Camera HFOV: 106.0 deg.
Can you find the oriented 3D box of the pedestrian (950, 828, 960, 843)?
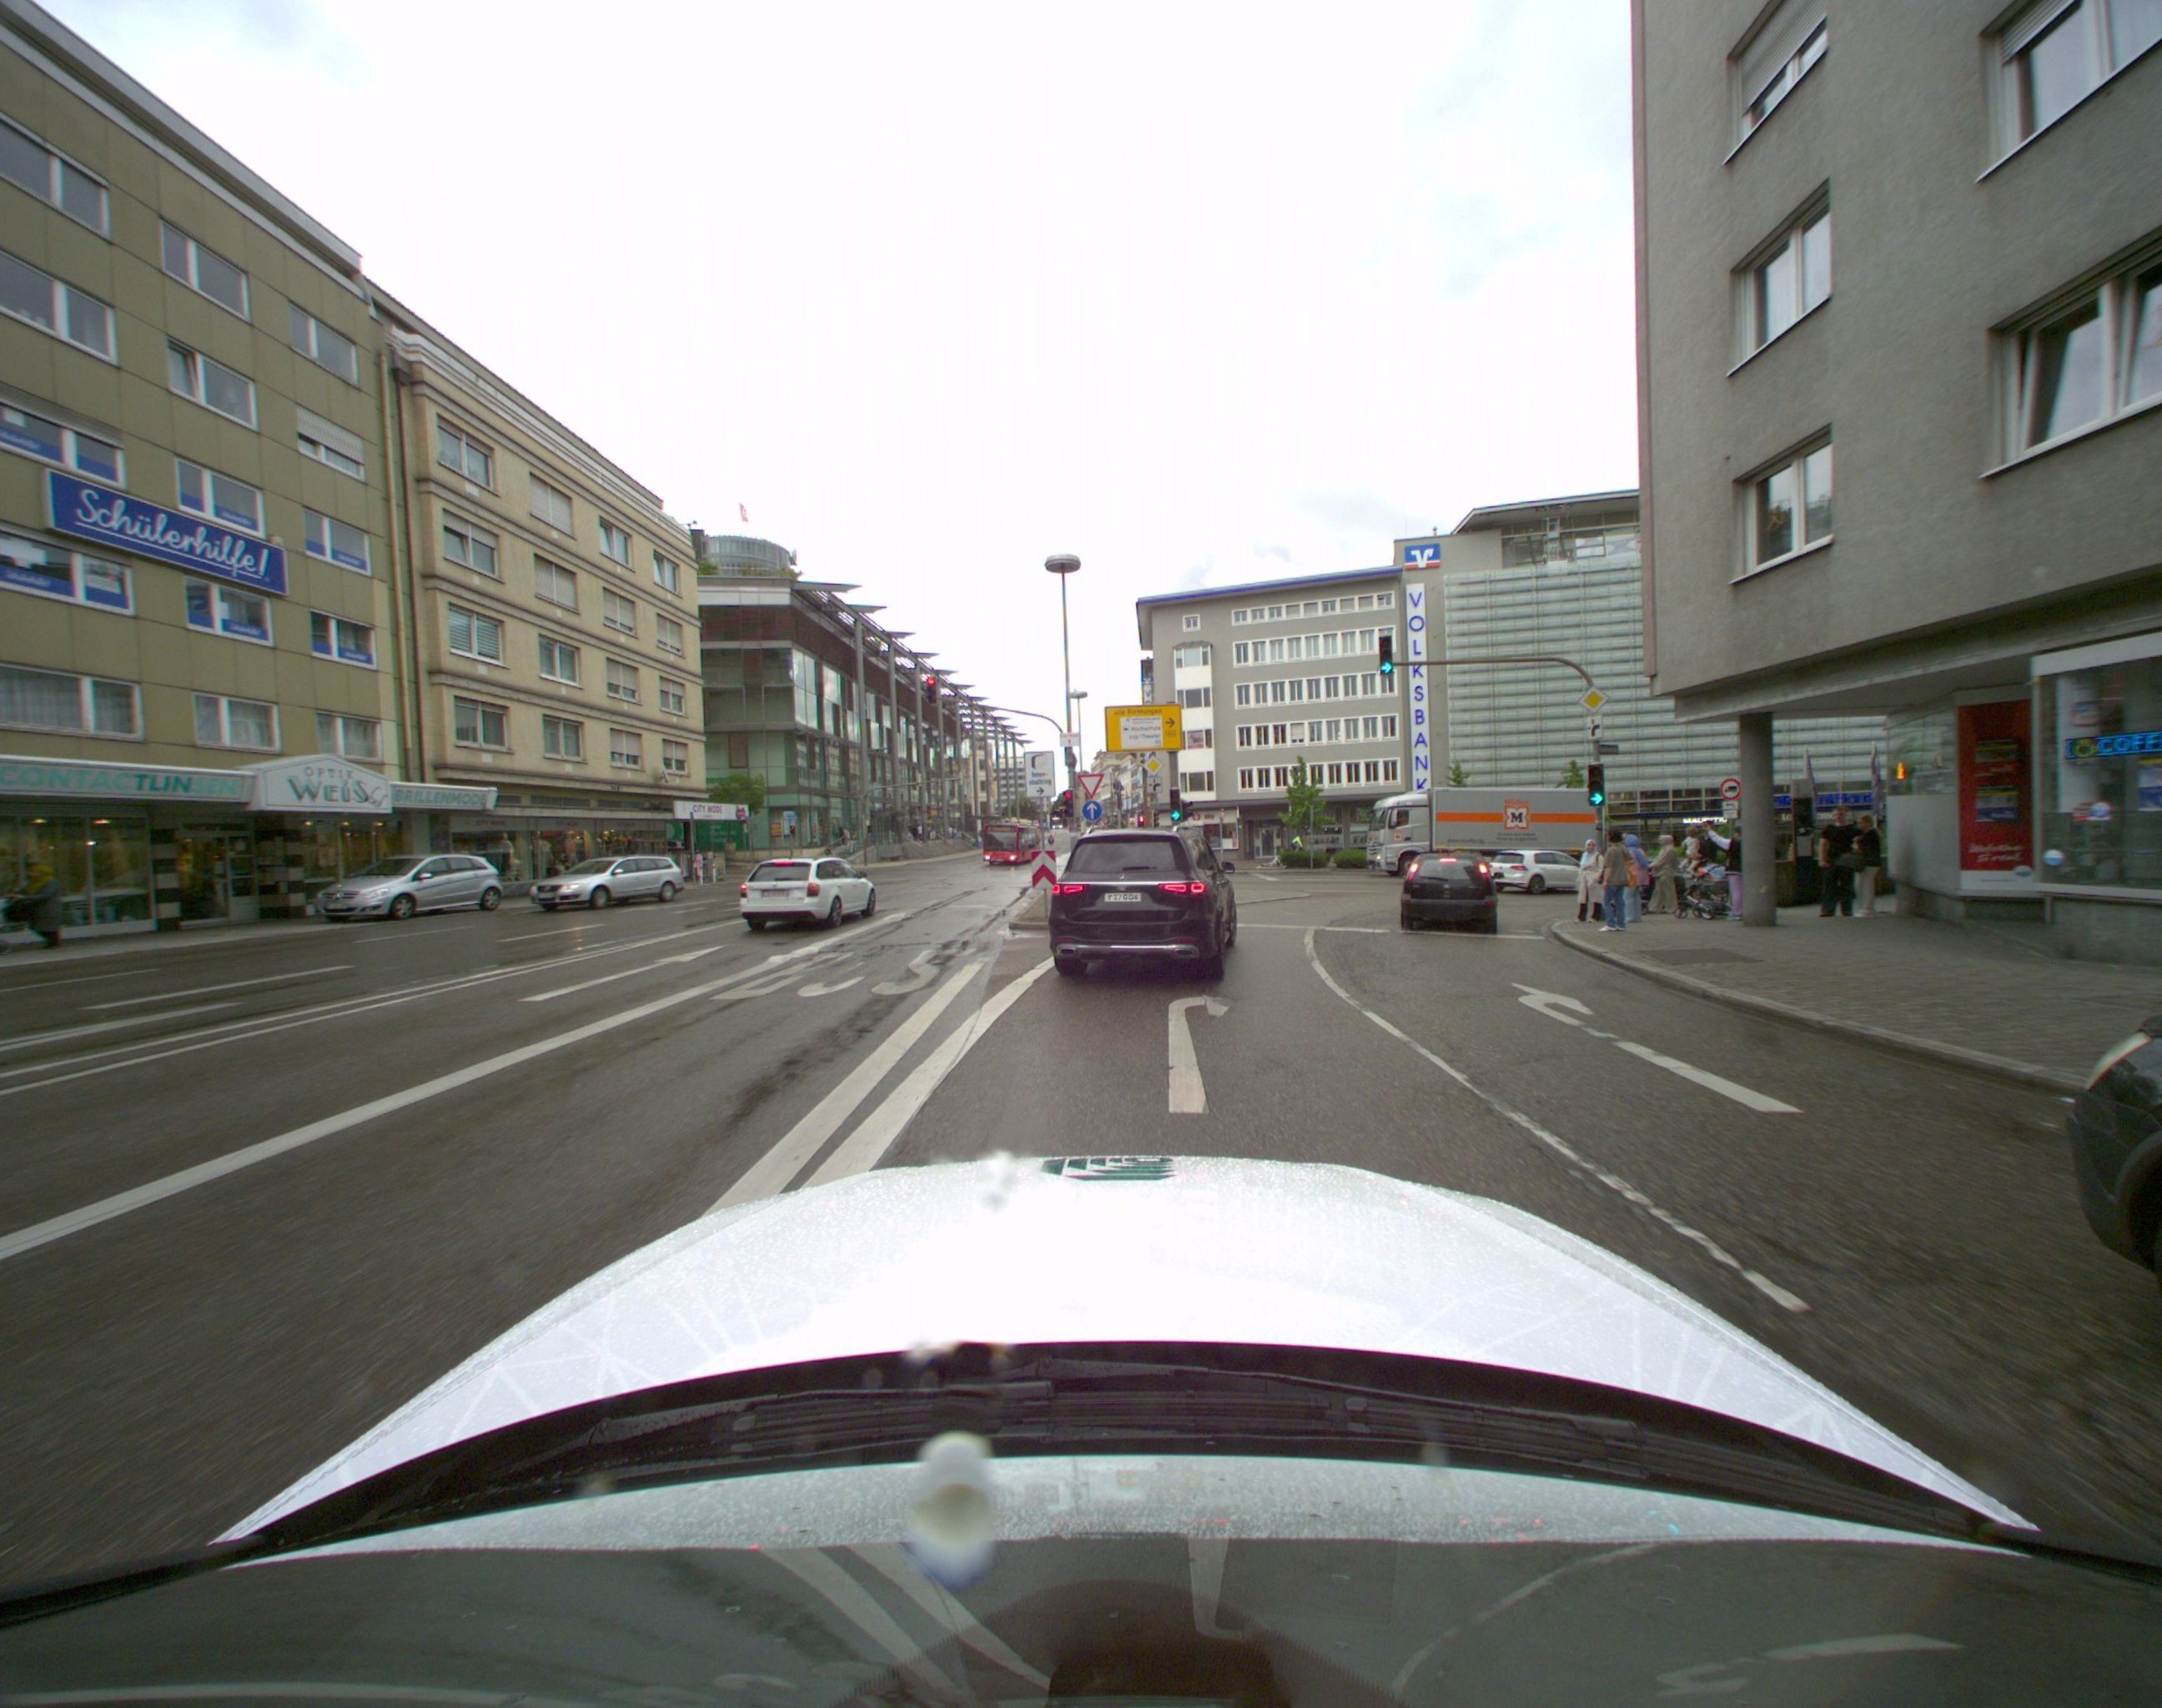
[{"bbox_3d":[-15.111,-2.215,97.726,1.036,1.712,1.006,-1,1,-4],"label":"pedestrian"}]

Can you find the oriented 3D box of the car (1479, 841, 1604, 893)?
[{"bbox_3d":[15.799,0.384,27.931,4.012,1.573,1.938,-1,3,-30],"label":"car"}]

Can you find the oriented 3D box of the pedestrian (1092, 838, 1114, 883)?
[{"bbox_3d":[0.845,0.245,30.608,0.752,1.692,0.695,0,-1,6],"label":"pedestrian"}]

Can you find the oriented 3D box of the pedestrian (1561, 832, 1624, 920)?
[{"bbox_3d":[9.952,0.442,15.875,0.537,1.637,0.838,-5,-4,1],"label":"pedestrian"}]

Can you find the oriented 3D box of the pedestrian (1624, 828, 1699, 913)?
[{"bbox_3d":[12.306,0.349,17.294,1.027,1.722,0.842,-3,0,18],"label":"pedestrian"}]

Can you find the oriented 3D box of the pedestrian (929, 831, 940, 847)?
[{"bbox_3d":[-16.669,-1.709,92.512,1.036,1.712,1.006,-1,1,-4],"label":"pedestrian"}]

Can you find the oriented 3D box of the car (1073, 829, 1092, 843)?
[{"bbox_3d":[0.189,-2.444,109.556,2.414,1.780,5.156,0,1,1],"label":"car"}]

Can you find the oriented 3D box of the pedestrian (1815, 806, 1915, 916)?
[{"bbox_3d":[12.467,0.119,12.975,0.612,1.637,0.839,-5,-3,6],"label":"pedestrian"}]

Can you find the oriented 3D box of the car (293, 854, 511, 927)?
[{"bbox_3d":[-17.275,0.848,21.069,1.841,1.550,4.402,1,2,1],"label":"car"}]

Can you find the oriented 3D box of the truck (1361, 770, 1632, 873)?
[{"bbox_3d":[18.588,-1.413,37.056,10.683,4.333,2.860,-1,1,5],"label":"truck"}]

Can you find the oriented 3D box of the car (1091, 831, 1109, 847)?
[{"bbox_3d":[2.130,-1.699,92.959,1.855,1.826,4.103,0,1,-1],"label":"car"}]

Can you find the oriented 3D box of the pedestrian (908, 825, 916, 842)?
[{"bbox_3d":[-16.881,-2.029,81.389,0.679,1.712,0.849,-1,1,-4],"label":"pedestrian"}]

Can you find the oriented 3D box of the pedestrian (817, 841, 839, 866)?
[{"bbox_3d":[-17.533,-0.061,56.493,1.029,1.712,1.014,0,1,29],"label":"pedestrian"}]

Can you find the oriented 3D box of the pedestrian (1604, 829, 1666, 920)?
[{"bbox_3d":[10.302,0.388,15.148,0.736,1.635,0.600,-6,-5,43],"label":"pedestrian"}]

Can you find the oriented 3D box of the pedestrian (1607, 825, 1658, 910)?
[{"bbox_3d":[12.656,0.329,18.716,0.610,1.868,0.790,-5,-4,17],"label":"pedestrian"}]

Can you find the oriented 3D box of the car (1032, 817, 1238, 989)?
[{"bbox_3d":[1.014,0.447,11.161,2.073,1.816,4.810,0,2,13],"label":"car"}]

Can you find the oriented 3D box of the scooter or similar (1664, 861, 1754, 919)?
[{"bbox_3d":[11.440,0.652,14.874,0.767,0.986,1.048,-3,-3,1],"label":"scooter or similar"}]

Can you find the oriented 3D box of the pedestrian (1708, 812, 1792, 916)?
[{"bbox_3d":[11.500,0.181,14.022,0.830,1.723,0.619,-3,-2,10],"label":"pedestrian"}]

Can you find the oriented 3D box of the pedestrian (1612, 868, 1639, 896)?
[{"bbox_3d":[11.731,0.609,17.544,0.368,0.571,0.461,-4,-1,21],"label":"pedestrian"}]

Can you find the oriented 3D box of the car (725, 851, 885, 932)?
[{"bbox_3d":[-5.797,0.712,17.770,1.786,1.415,4.633,-1,1,1],"label":"car"}]

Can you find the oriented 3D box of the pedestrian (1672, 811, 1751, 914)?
[{"bbox_3d":[12.057,0.176,15.598,0.831,1.865,0.659,-4,-3,6],"label":"pedestrian"}]

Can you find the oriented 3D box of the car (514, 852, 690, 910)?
[{"bbox_3d":[-13.855,0.708,23.972,1.774,1.445,4.767,-1,1,9],"label":"car"}]

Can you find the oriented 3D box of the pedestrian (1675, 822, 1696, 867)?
[{"bbox_3d":[11.628,-0.190,15.664,0.218,0.847,0.443,1,1,23],"label":"pedestrian"}]

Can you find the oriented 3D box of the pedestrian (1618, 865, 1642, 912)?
[{"bbox_3d":[12.112,0.762,17.975,0.258,1.000,0.475,-6,-2,25],"label":"pedestrian"}]

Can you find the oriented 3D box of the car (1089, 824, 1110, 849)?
[{"bbox_3d":[2.258,-2.167,99.516,2.437,2.957,6.152,0,1,0],"label":"car"}]

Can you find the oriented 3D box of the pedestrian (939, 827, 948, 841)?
[{"bbox_3d":[-17.357,-2.553,103.042,1.036,1.712,1.006,-1,1,-4],"label":"pedestrian"}]

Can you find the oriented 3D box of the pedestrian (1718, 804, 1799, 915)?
[{"bbox_3d":[12.306,0.107,14.818,0.813,1.931,0.734,-2,-1,10],"label":"pedestrian"}]

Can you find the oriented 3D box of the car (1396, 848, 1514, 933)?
[{"bbox_3d":[7.151,0.604,15.900,1.703,1.420,3.788,1,1,19],"label":"car"}]

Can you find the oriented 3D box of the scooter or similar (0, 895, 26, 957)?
[{"bbox_3d":[-19.019,1.258,14.021,0.734,1.054,0.701,0,2,0],"label":"scooter or similar"}]

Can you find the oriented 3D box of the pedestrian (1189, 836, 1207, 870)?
[{"bbox_3d":[6.186,-0.043,43.023,0.828,1.778,0.617,0,1,-4],"label":"pedestrian"}]

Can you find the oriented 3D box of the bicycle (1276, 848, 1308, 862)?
[{"bbox_3d":[14.833,0.075,57.310,2.121,0.993,0.697,-1,0,15],"label":"bicycle"}]

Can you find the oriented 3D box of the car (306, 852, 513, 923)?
[{"bbox_3d":[-17.208,0.783,21.190,1.692,1.563,4.206,-1,1,4],"label":"car"}]

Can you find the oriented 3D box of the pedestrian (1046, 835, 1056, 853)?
[{"bbox_3d":[-3.077,-1.060,83.789,0.949,1.886,0.812,0,1,8],"label":"pedestrian"}]

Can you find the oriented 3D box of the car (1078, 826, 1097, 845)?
[{"bbox_3d":[1.274,-3.451,151.392,2.428,3.465,6.174,0,1,12],"label":"car"}]

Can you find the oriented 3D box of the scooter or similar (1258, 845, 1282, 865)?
[{"bbox_3d":[11.910,0.063,51.223,1.368,1.187,0.547,-2,0,21],"label":"scooter or similar"}]

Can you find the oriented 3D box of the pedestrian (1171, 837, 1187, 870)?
[{"bbox_3d":[5.045,-0.034,41.908,0.776,1.689,0.641,0,1,10],"label":"pedestrian"}]

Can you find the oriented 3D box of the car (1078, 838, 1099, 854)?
[{"bbox_3d":[0.740,-0.795,77.659,1.730,1.527,4.004,0,1,3],"label":"car"}]

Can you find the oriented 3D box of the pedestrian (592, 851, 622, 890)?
[{"bbox_3d":[-18.951,0.649,32.551,0.782,1.536,0.681,0,1,0],"label":"pedestrian"}]

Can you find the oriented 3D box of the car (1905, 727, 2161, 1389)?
[{"bbox_3d":[3.766,0.588,0.715,1.899,1.785,4.307,0,2,4],"label":"car"}]

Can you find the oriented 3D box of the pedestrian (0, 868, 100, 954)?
[{"bbox_3d":[-18.952,1.015,14.905,0.664,1.484,1.065,0,2,0],"label":"pedestrian"}]

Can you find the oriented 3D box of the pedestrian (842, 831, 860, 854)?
[{"bbox_3d":[-17.397,-0.869,61.649,1.036,1.712,1.006,-1,1,-4],"label":"pedestrian"}]

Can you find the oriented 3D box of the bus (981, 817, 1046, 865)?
[{"bbox_3d":[-5.144,-1.034,66.308,2.909,3.320,18.490,-1,1,2],"label":"bus"}]

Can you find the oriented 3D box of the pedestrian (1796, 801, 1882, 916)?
[{"bbox_3d":[12.708,0.064,13.665,0.666,1.865,0.833,0,1,-19],"label":"pedestrian"}]

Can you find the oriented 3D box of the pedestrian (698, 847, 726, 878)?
[{"bbox_3d":[-19.309,0.448,42.648,0.867,1.586,1.156,-1,1,5],"label":"pedestrian"}]

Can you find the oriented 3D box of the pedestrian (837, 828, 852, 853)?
[{"bbox_3d":[-19.066,-1.083,65.682,0.872,1.980,0.850,-1,0,1],"label":"pedestrian"}]

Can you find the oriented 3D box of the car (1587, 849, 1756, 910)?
[{"bbox_3d":[17.283,0.682,23.888,3.995,1.573,1.946,-1,2,-16],"label":"car"}]

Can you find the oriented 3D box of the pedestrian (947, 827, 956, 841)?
[{"bbox_3d":[-16.381,-2.493,103.106,0.936,1.712,0.990,-1,1,-3],"label":"pedestrian"}]

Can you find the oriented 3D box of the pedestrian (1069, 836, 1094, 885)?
[{"bbox_3d":[0.024,0.214,28.952,0.779,1.711,0.708,0,0,6],"label":"pedestrian"}]

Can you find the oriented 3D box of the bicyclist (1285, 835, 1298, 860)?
[{"bbox_3d":[14.827,-0.464,57.309,0.838,1.704,0.626,-2,0,16],"label":"bicyclist"}]

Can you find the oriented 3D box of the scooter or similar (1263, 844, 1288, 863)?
[{"bbox_3d":[12.638,-0.034,52.864,1.484,1.256,0.936,0,2,21],"label":"scooter or similar"}]

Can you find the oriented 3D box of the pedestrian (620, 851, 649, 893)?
[{"bbox_3d":[-17.916,0.716,32.677,0.850,1.627,0.765,-1,1,-42],"label":"pedestrian"}]

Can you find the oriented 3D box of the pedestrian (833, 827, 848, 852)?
[{"bbox_3d":[-19.127,-1.152,64.719,0.877,1.980,0.975,-1,1,1],"label":"pedestrian"}]

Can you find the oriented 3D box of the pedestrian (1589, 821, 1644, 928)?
[{"bbox_3d":[8.738,0.333,13.286,0.620,1.692,0.787,-4,-2,37],"label":"pedestrian"}]

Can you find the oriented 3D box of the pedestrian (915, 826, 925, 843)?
[{"bbox_3d":[-16.131,-1.943,81.664,0.826,1.712,0.801,-1,1,-4],"label":"pedestrian"}]

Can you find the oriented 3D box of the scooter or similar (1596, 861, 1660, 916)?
[{"bbox_3d":[11.741,0.733,17.512,0.961,1.109,0.658,-4,-1,21],"label":"scooter or similar"}]
